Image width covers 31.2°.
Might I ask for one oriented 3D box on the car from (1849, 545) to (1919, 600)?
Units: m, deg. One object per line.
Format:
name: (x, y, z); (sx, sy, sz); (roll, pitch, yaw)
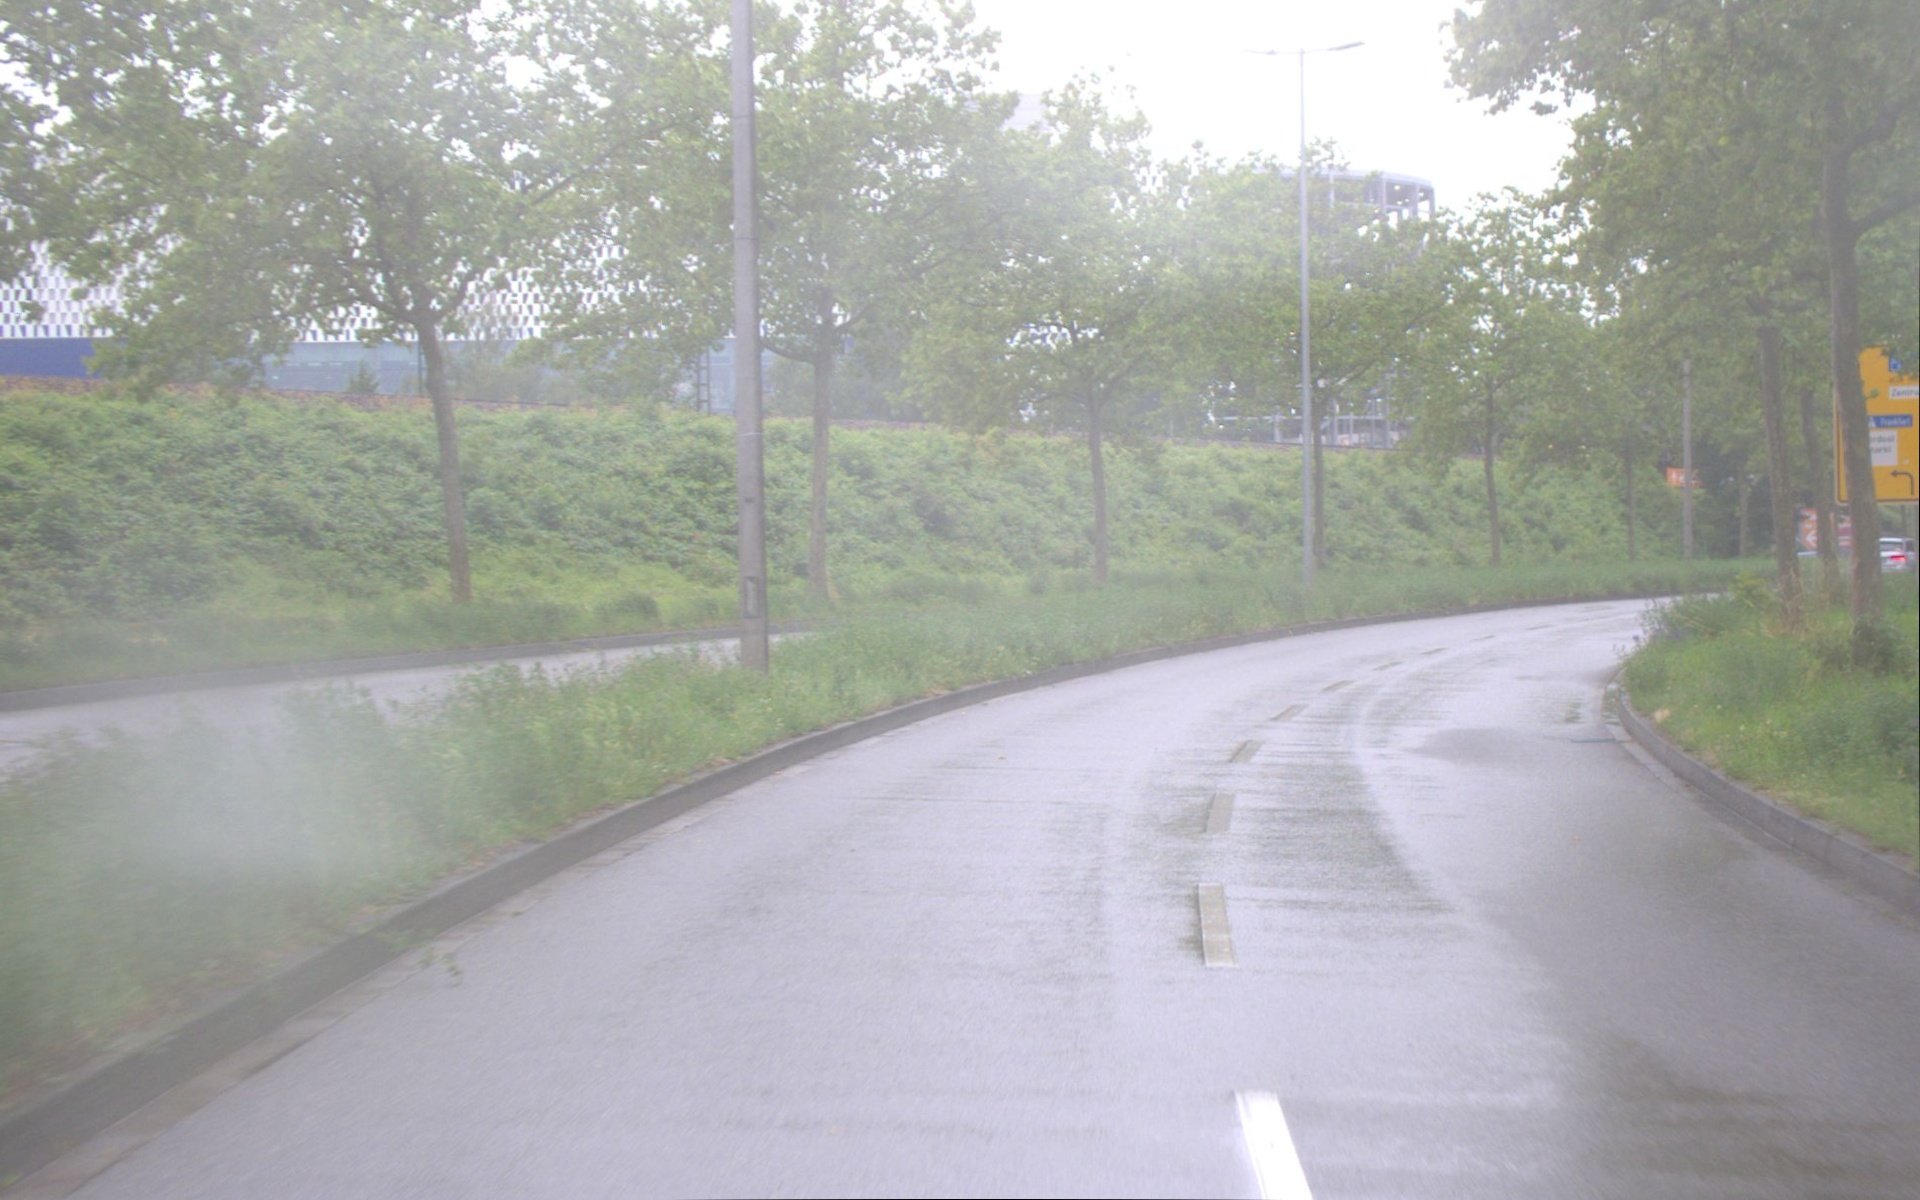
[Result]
car: (27.526, -0.826, 101.474); (1.782, 1.550, 3.995); (2, 1, 25)
